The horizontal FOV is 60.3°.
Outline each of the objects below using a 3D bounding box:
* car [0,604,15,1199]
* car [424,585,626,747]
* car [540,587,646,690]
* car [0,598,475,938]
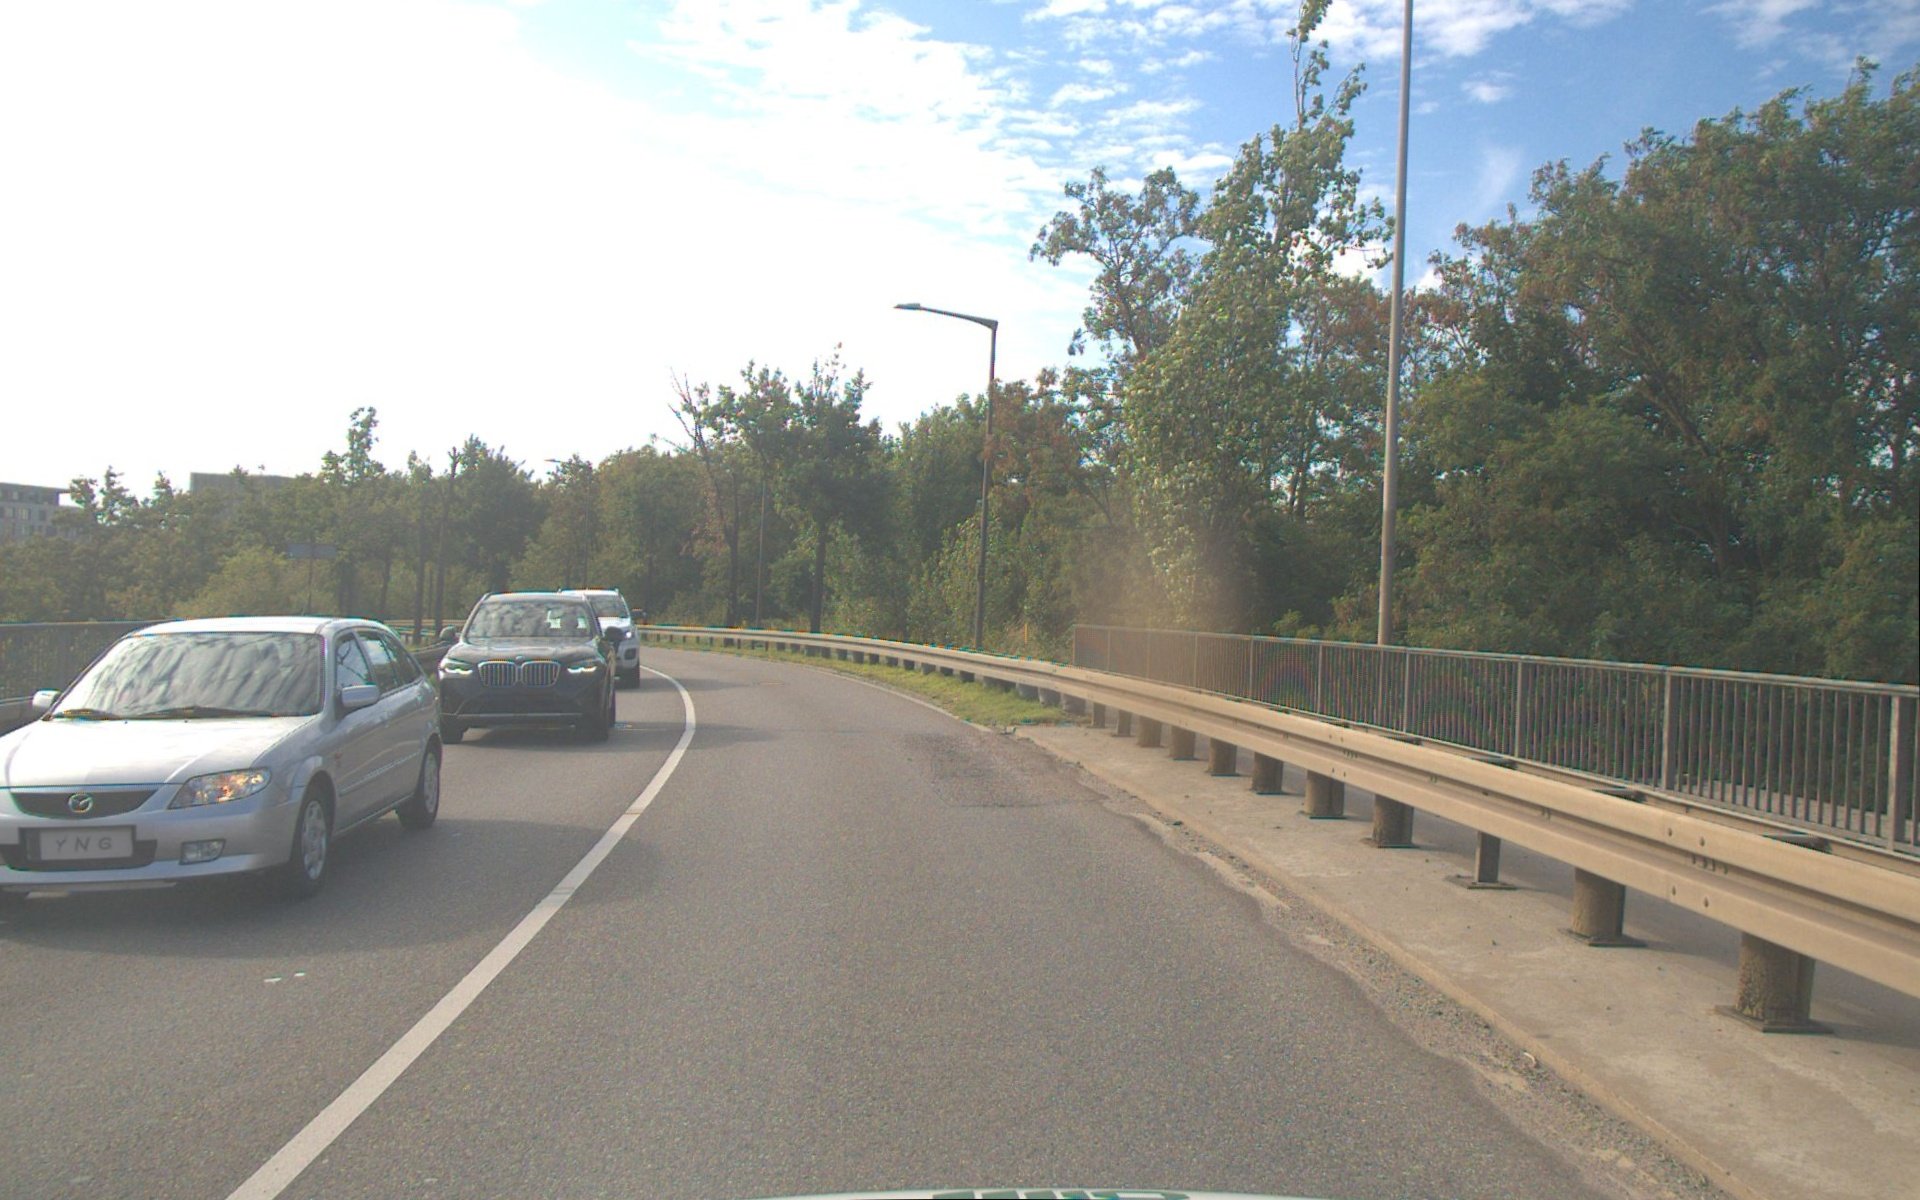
[{"bbox_3d":[-3.127,0.760,2.312,1.567,1.490,3.735,0,0,-2],"label":"car"},{"bbox_3d":[-5.021,0.691,19.668,1.855,1.678,4.632,0,0,-9],"label":"car"},{"bbox_3d":[-7.250,0.706,32.609,1.868,1.842,5.385,0,0,-13],"label":"car"},{"bbox_3d":[-4.128,0.765,9.575,1.698,1.481,4.260,-2,0,-5],"label":"car"}]
